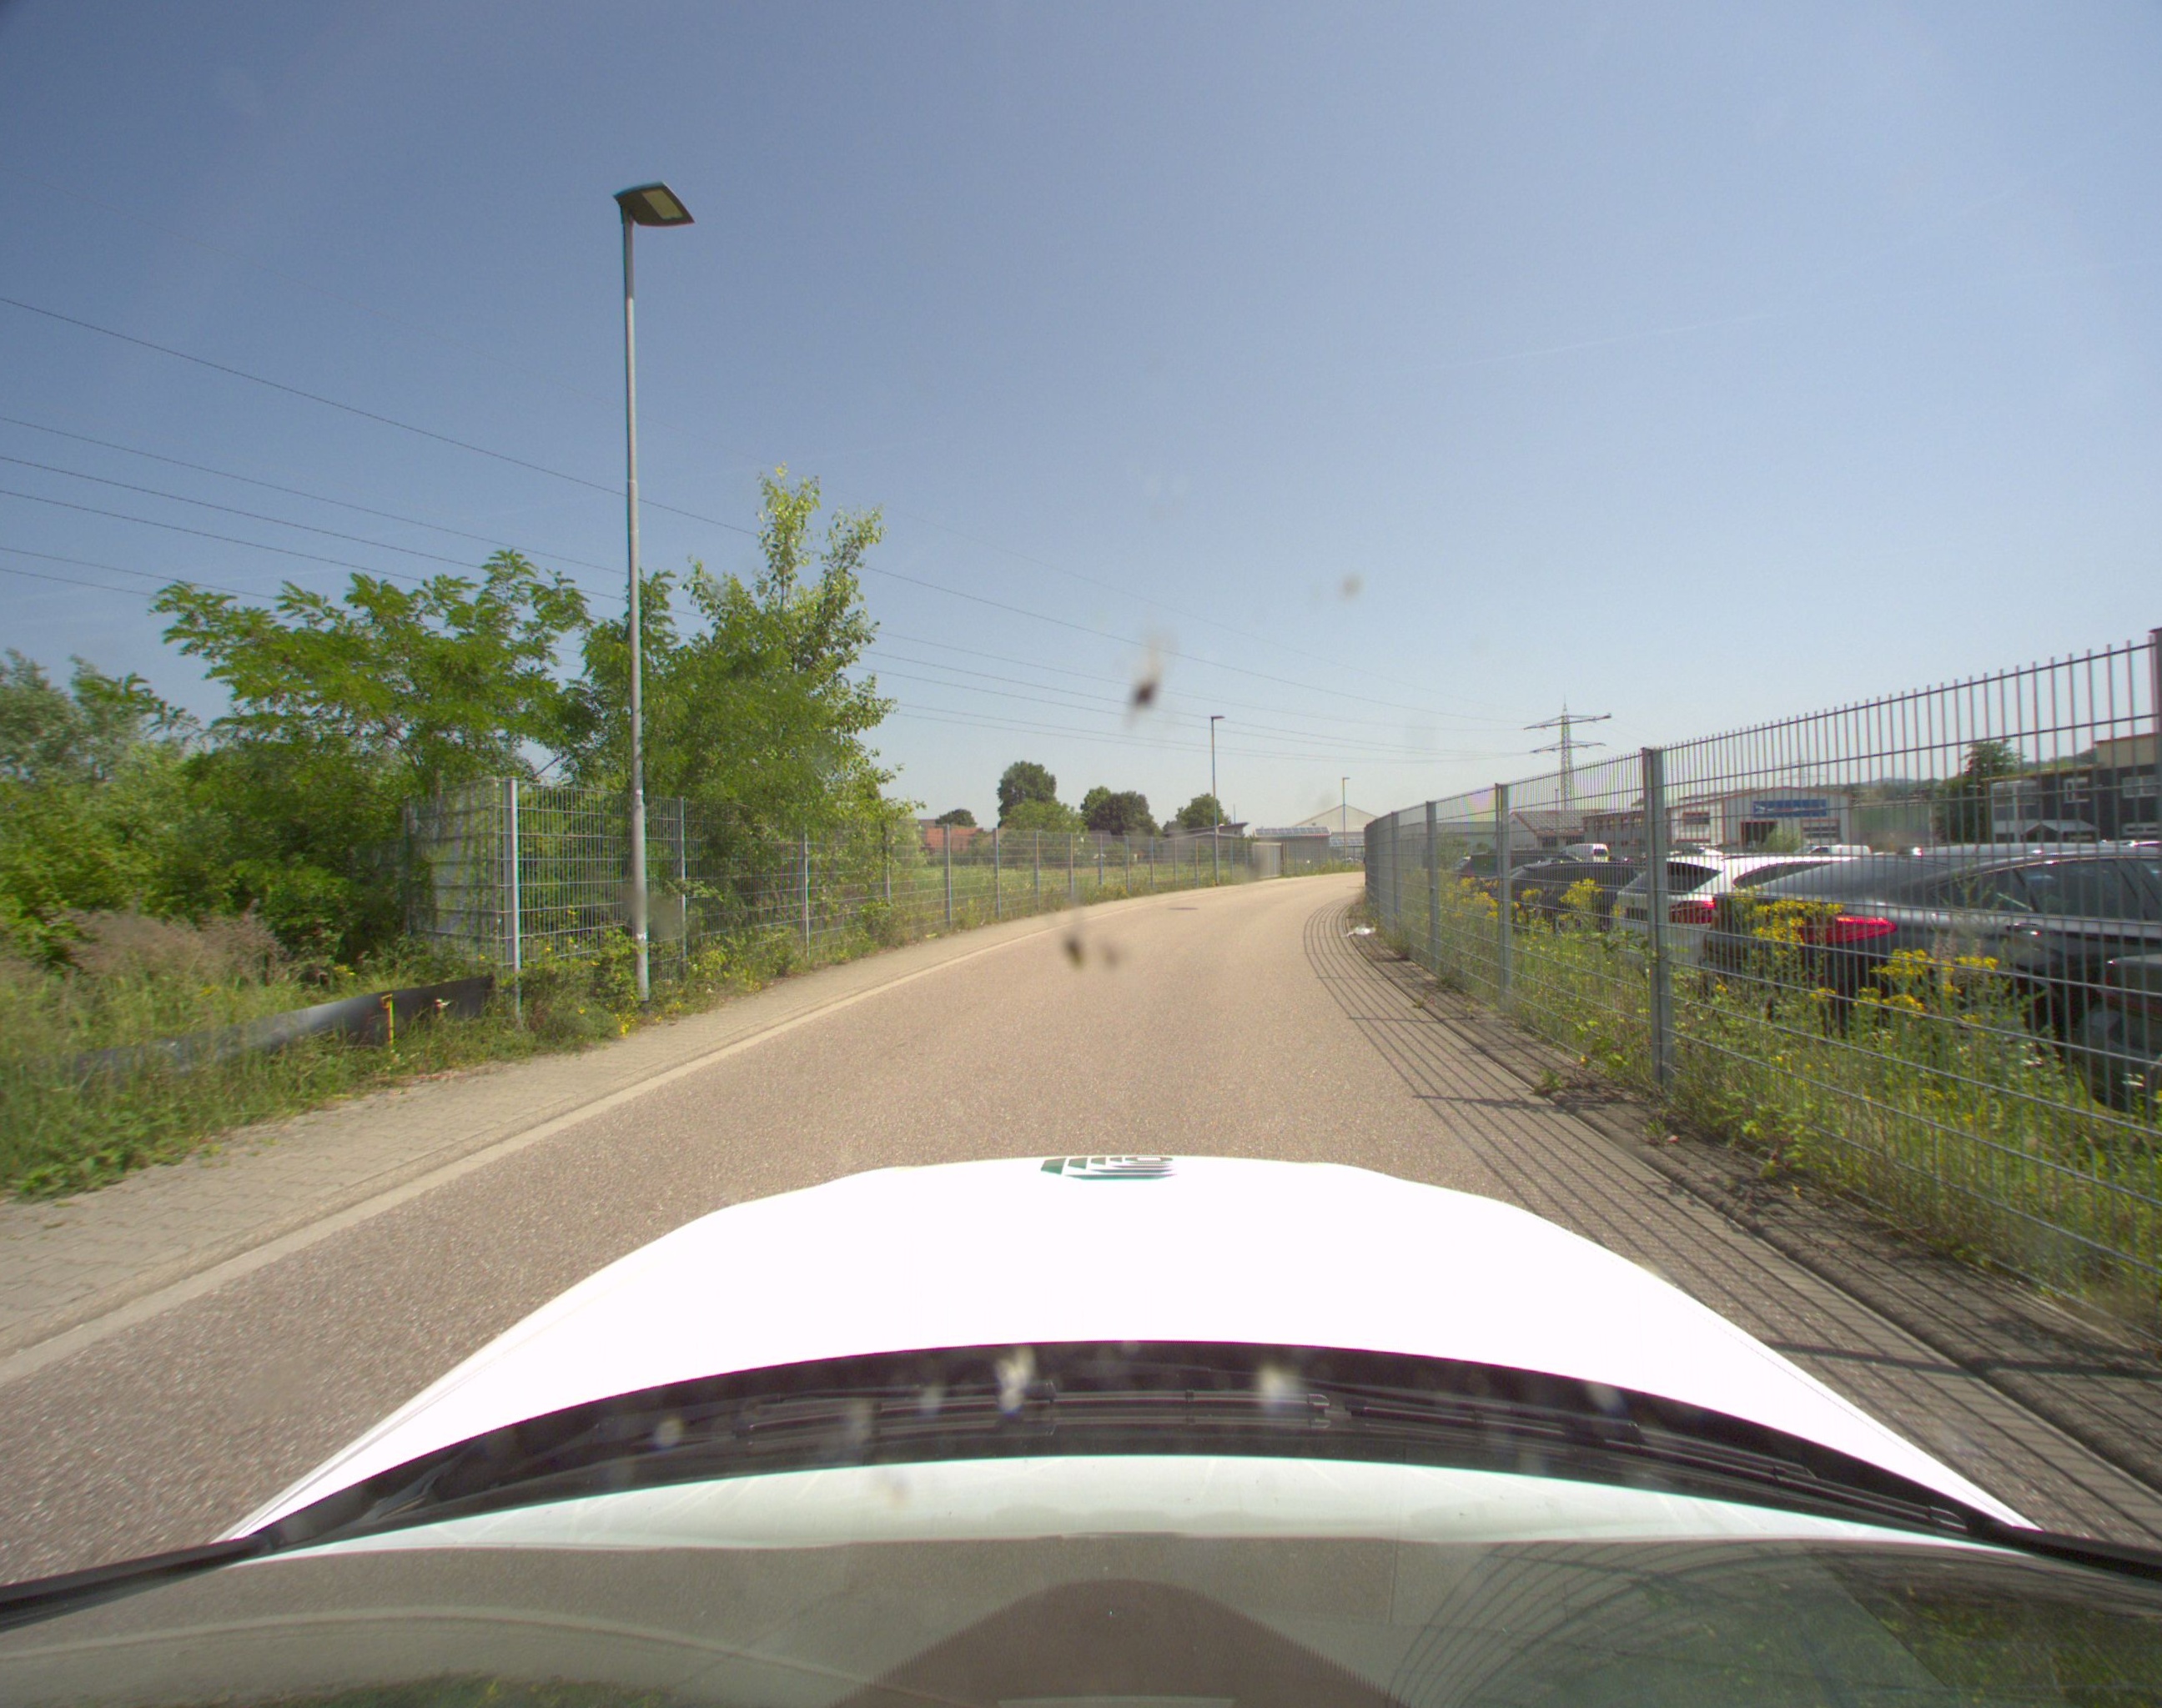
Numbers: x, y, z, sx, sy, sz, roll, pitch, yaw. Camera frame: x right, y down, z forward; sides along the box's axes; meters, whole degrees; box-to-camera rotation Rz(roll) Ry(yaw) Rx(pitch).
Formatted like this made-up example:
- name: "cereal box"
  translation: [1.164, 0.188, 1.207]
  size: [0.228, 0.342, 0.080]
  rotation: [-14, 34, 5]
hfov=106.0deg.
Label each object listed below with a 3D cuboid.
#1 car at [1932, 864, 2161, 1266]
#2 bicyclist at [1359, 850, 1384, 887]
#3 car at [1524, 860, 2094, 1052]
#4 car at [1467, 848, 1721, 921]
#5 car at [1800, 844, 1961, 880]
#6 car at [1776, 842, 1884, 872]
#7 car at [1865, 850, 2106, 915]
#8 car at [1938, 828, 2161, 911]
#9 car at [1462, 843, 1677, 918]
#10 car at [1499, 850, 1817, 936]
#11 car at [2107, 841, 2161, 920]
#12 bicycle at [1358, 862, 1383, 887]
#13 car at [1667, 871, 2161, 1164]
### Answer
- name: "car"
  translation: [6.585, 0.813, 3.074]
  size: [4.441, 1.582, 1.801]
  rotation: [-2, 0, 10]
- name: "bicyclist"
  translation: [12.879, 0.622, 36.118]
  size: [0.834, 1.618, 1.046]
  rotation: [0, 1, 31]
- name: "car"
  translation: [7.158, 0.973, 8.519]
  size: [4.092, 1.669, 1.730]
  rotation: [-2, 0, 14]
- name: "car"
  translation: [10.489, 0.633, 17.060]
  size: [4.242, 1.378, 1.775]
  rotation: [-2, 0, 23]
- name: "car"
  translation: [32.235, 0.342, 32.965]
  size: [4.478, 1.351, 1.632]
  rotation: [-1, -1, 12]
- name: "car"
  translation: [50.097, 0.204, 54.577]
  size: [5.025, 1.899, 1.864]
  rotation: [-1, -1, 12]
- name: "car"
  translation: [22.141, 0.692, 20.094]
  size: [3.736, 1.437, 1.617]
  rotation: [-2, 0, 11]
- name: "car"
  translation: [21.859, 0.309, 17.477]
  size: [4.427, 1.649, 1.886]
  rotation: [-2, 0, 16]
- name: "car"
  translation: [11.685, 0.623, 19.724]
  size: [4.239, 1.637, 1.776]
  rotation: [-2, 0, 30]
- name: "car"
  translation: [10.056, 0.688, 14.608]
  size: [4.306, 1.378, 1.773]
  rotation: [-2, 0, 17]
- name: "car"
  translation: [21.946, 0.444, 14.922]
  size: [3.736, 1.437, 1.617]
  rotation: [-2, 0, 11]
- name: "bicycle"
  translation: [12.796, 0.901, 36.020]
  size: [0.678, 1.051, 1.913]
  rotation: [0, 0, 31]
- name: "car"
  translation: [7.018, 1.010, 5.652]
  size: [4.437, 1.669, 1.730]
  rotation: [-2, 0, 14]
